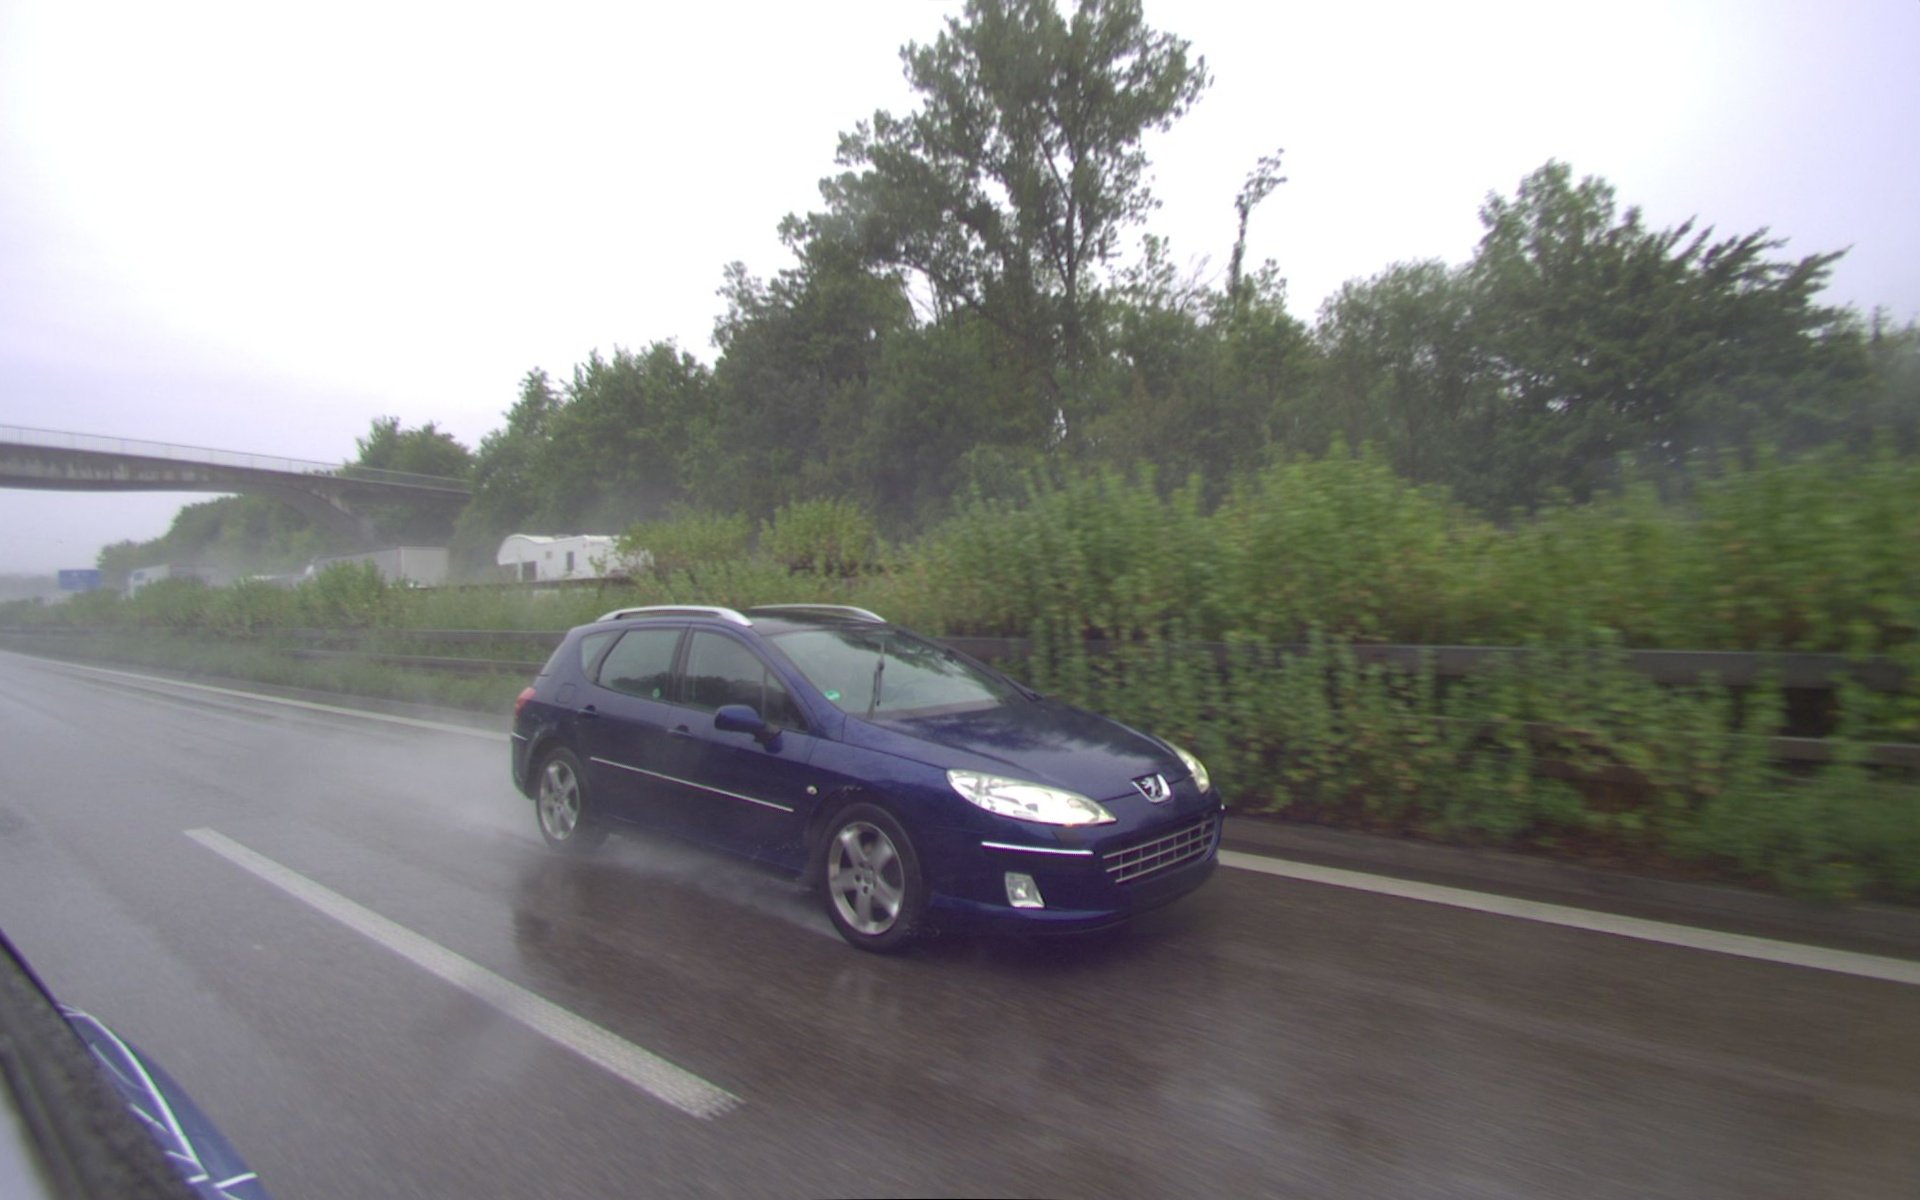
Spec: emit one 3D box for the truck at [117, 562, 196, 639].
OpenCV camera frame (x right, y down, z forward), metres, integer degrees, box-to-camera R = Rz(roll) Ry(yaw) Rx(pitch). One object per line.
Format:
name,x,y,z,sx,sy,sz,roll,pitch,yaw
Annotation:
truck,-60.744,0.103,76.441,7.712,5.500,3.396,-1,-1,42

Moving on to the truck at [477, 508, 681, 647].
truck,-12.626,-0.605,33.133,7.703,4.048,3.003,-1,-1,42

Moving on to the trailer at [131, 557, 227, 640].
trailer,-55.405,-0.013,71.619,11.543,5.499,3.392,-1,-1,42

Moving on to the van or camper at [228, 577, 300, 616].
van or camper,-38.856,-0.179,56.435,5.893,2.029,1.964,-1,-1,42

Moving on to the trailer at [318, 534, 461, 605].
trailer,-31.702,-1.524,55.938,11.543,3.410,3.392,-1,-1,42

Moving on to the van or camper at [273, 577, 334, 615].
van or camper,-34.160,-0.199,52.636,4.503,1.864,1.483,-1,-1,41

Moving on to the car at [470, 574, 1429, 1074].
car,-0.487,0.682,5.494,5.155,1.496,2.033,-1,0,41

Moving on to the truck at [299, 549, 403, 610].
truck,-36.057,-1.135,59.847,7.172,3.294,3.301,-1,-1,42
